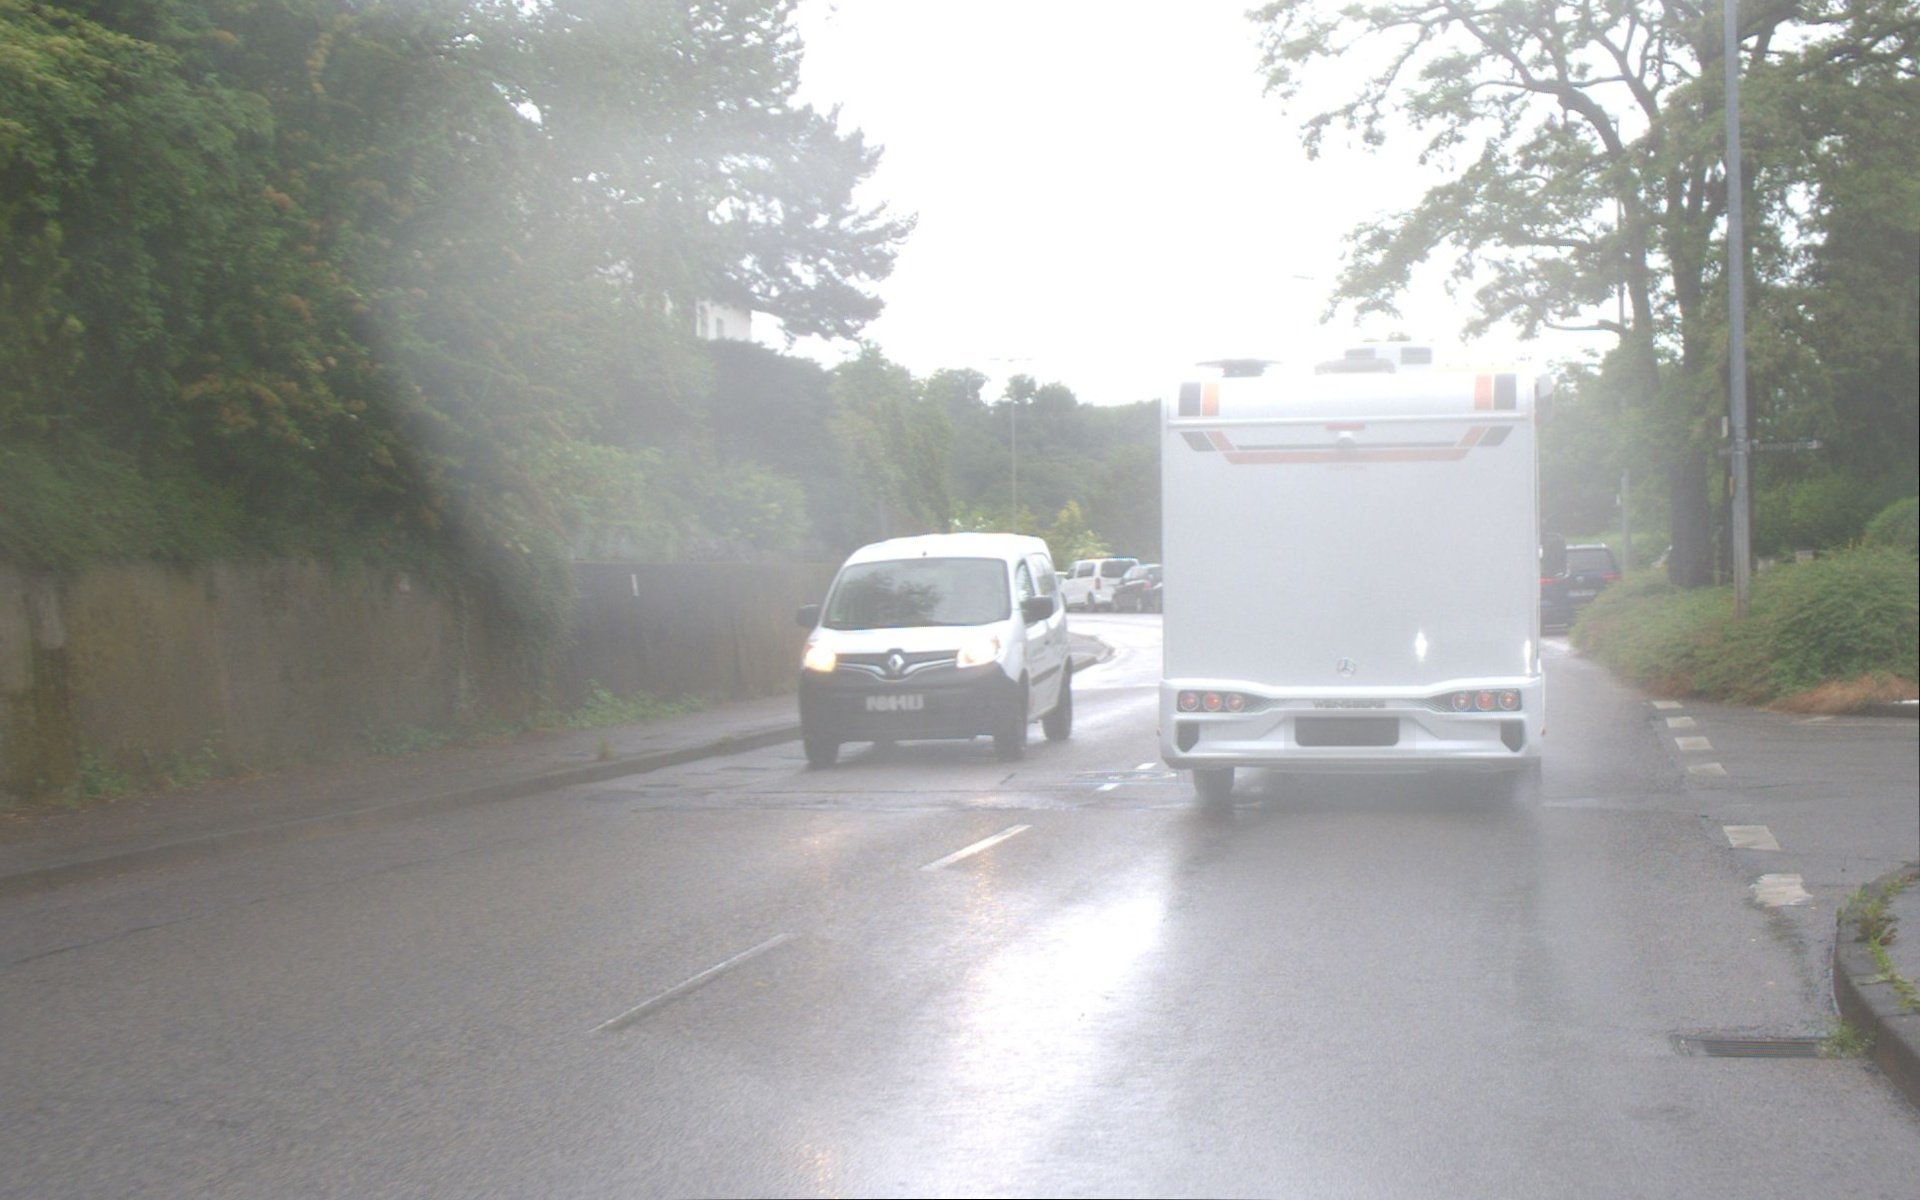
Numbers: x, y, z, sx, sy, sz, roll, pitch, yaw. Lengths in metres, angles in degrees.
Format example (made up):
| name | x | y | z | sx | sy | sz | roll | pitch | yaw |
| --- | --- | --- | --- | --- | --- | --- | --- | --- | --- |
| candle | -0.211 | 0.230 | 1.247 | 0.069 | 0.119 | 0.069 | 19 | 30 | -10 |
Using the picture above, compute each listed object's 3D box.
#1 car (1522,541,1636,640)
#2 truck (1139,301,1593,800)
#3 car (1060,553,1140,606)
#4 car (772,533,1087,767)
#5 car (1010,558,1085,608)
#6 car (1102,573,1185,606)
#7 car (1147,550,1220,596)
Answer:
| name | x | y | z | sx | sy | sz | roll | pitch | yaw |
| --- | --- | --- | --- | --- | --- | --- | --- | --- | --- |
| car | 11.640 | -0.149 | 64.698 | 1.994 | 1.634 | 3.998 | 2 | -2 | 10 |
| truck | 2.899 | -0.196 | 23.039 | 2.516 | 2.808 | 6.198 | 2 | -2 | 10 |
| car | 5.045 | -0.724 | 123.995 | 1.645 | 1.715 | 4.001 | 3 | -2 | -16 |
| car | -0.162 | 0.363 | 28.434 | 1.841 | 1.749 | 4.419 | 1 | 1 | 10 |
| car | 3.302 | -0.635 | 129.919 | 1.645 | 1.715 | 4.001 | 3 | -2 | -16 |
| car | 6.318 | -0.363 | 118.750 | 1.645 | 1.097 | 4.001 | -1 | 0 | -16 |
| car | 7.330 | -0.862 | 112.993 | 1.540 | 1.322 | 4.001 | 3 | -2 | -8 |
